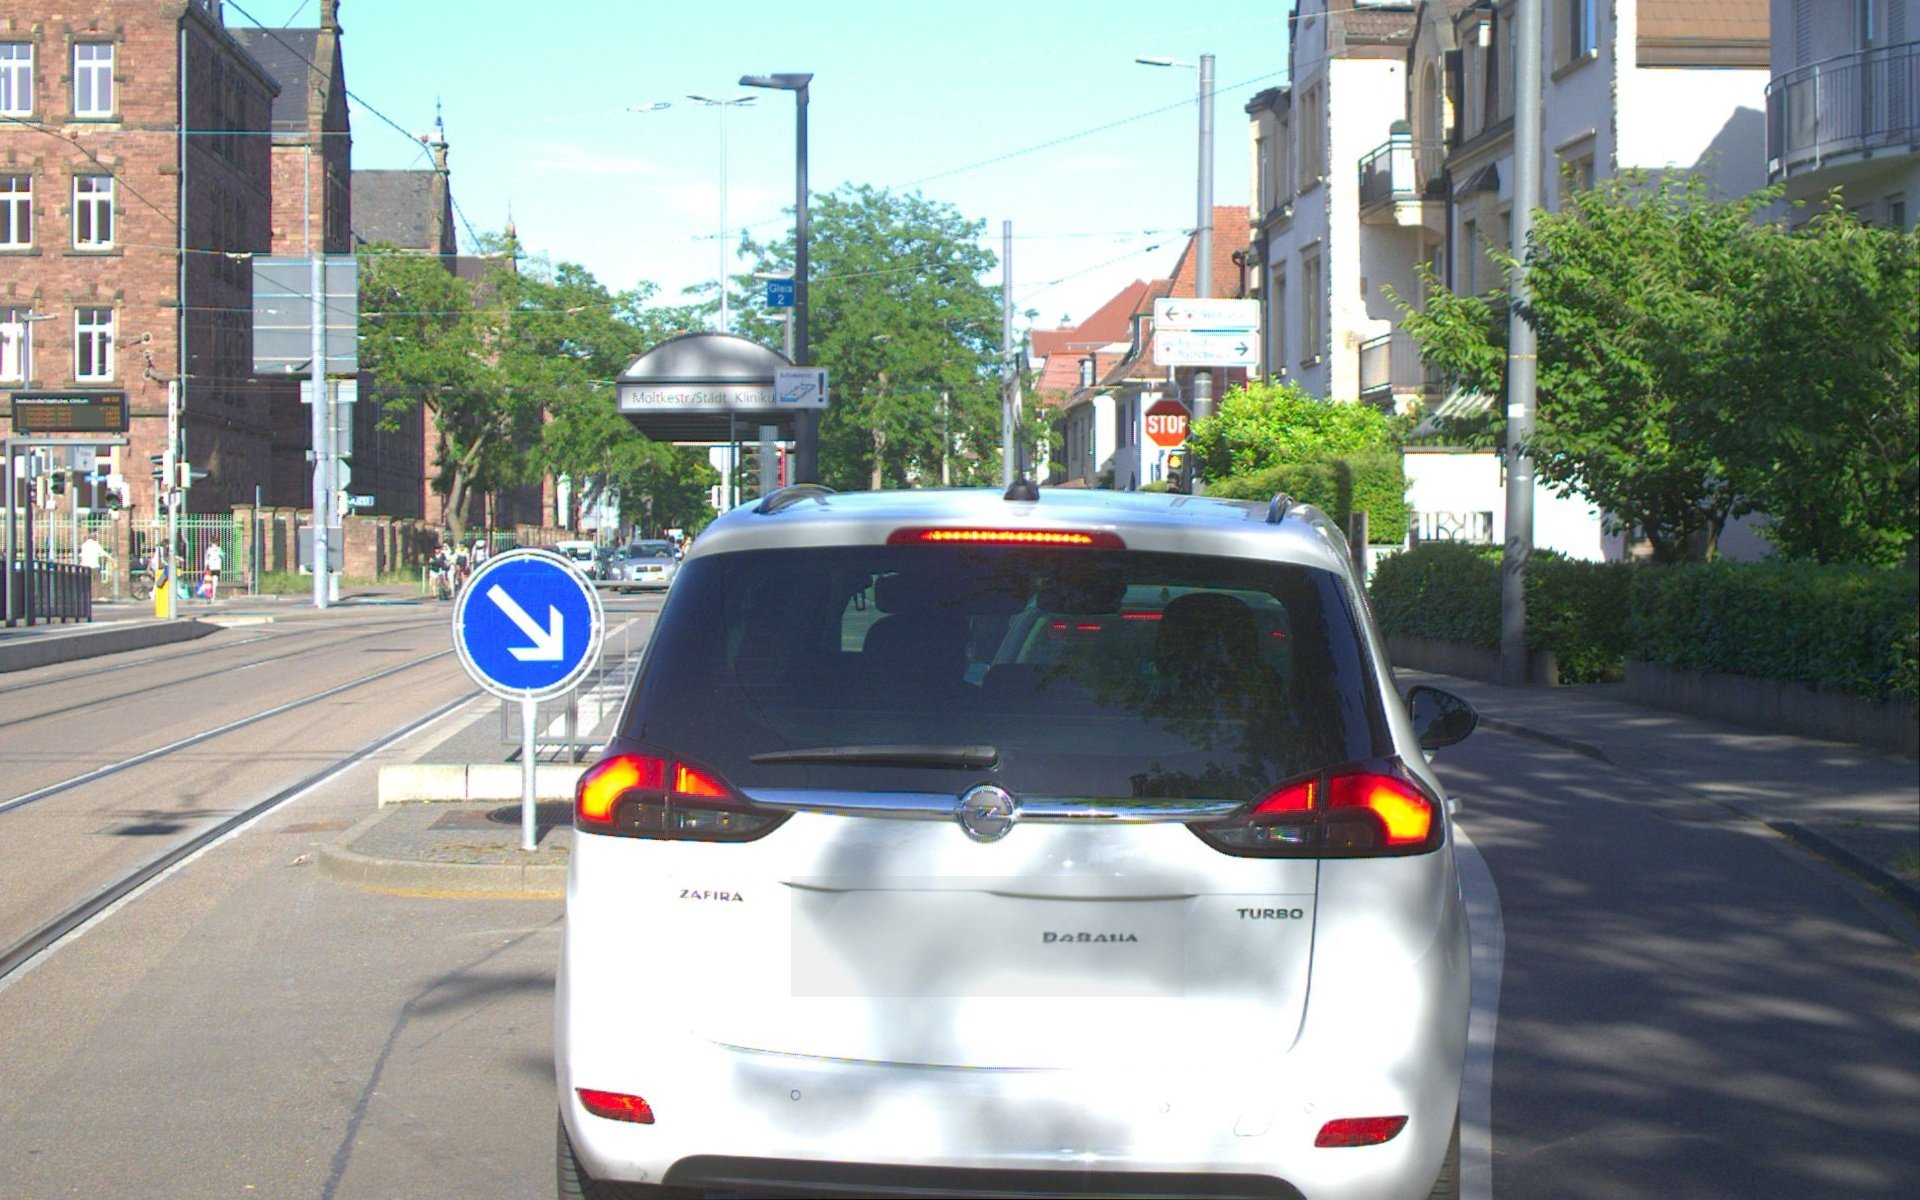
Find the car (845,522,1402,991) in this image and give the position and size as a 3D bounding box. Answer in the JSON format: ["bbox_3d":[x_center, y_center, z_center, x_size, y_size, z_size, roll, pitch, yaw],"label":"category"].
[{"bbox_3d":[0.784,0.495,13.780,1.907,1.592,3.999,0,1,7],"label":"car"}]

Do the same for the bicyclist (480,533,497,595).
[{"bbox_3d":[-15.313,-1.175,111.636,0.488,2.007,0.502,1,0,-1],"label":"bicyclist"}]

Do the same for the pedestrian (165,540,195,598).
[{"bbox_3d":[-21.619,-0.857,95.303,0.654,1.606,0.711,1,0,2],"label":"pedestrian"}]

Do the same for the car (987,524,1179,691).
[{"bbox_3d":[1.244,0.039,36.117,1.907,1.656,4.000,0,1,1],"label":"car"}]

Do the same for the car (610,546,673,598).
[{"bbox_3d":[-10.653,-0.946,115.224,1.746,1.710,4.000,1,1,-1],"label":"car"}]

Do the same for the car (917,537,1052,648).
[{"bbox_3d":[0.339,-0.147,53.095,1.907,1.656,4.001,0,1,-2],"label":"car"}]

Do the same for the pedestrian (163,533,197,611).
[{"bbox_3d":[-20.060,-0.721,88.399,0.794,2.007,1.047,1,0,-15],"label":"pedestrian"}]

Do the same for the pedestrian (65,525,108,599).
[{"bbox_3d":[-22.621,-0.988,89.034,0.808,1.894,0.743,1,0,14],"label":"pedestrian"}]

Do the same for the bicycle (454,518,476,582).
[{"bbox_3d":[-15.695,-1.597,109.061,0.487,2.007,1.405,0,1,0],"label":"bicycle"}]

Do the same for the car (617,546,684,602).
[{"bbox_3d":[-9.641,-0.816,107.367,1.746,1.710,4.000,1,1,-1],"label":"car"}]

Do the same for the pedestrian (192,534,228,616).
[{"bbox_3d":[-18.533,-0.628,84.983,0.794,2.007,0.721,1,0,-17],"label":"pedestrian"}]

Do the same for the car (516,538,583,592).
[{"bbox_3d":[-13.554,-1.152,113.718,1.746,1.710,4.000,1,1,-1],"label":"car"}]

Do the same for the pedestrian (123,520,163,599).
[{"bbox_3d":[-21.026,-1.039,88.467,0.795,2.007,0.720,1,0,-34],"label":"pedestrian"}]

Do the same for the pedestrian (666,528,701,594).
[{"bbox_3d":[-7.953,-1.117,98.854,0.741,1.894,0.811,1,0,-22],"label":"pedestrian"}]

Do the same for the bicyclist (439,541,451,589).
[{"bbox_3d":[-15.426,-1.062,103.046,0.313,1.439,0.384,0,1,-1],"label":"bicyclist"}]

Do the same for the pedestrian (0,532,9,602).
[{"bbox_3d":[-24.548,-0.853,87.263,0.766,1.768,0.721,1,0,-17],"label":"pedestrian"}]

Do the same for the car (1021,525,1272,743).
[{"bbox_3d":[1.568,0.220,28.280,1.907,1.656,4.000,0,1,4],"label":"car"}]

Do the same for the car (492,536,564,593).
[{"bbox_3d":[-13.428,-1.116,107.050,1.746,1.710,4.000,1,1,-1],"label":"car"}]

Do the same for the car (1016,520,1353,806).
[{"bbox_3d":[1.505,0.322,21.620,1.907,1.619,3.999,0,1,7],"label":"car"}]

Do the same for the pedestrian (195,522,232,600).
[{"bbox_3d":[-19.401,-1.024,89.341,0.795,2.007,0.721,1,0,-26],"label":"pedestrian"}]

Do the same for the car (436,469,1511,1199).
[{"bbox_3d":[0.237,0.561,8.057,1.907,1.656,3.999,0,1,7],"label":"car"}]

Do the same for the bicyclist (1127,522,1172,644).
[{"bbox_3d":[2.630,-0.241,47.696,0.616,1.681,0.779,0,1,4],"label":"bicyclist"}]

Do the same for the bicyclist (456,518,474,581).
[{"bbox_3d":[-15.701,-1.597,109.049,0.498,2.007,0.572,0,1,-1],"label":"bicyclist"}]
